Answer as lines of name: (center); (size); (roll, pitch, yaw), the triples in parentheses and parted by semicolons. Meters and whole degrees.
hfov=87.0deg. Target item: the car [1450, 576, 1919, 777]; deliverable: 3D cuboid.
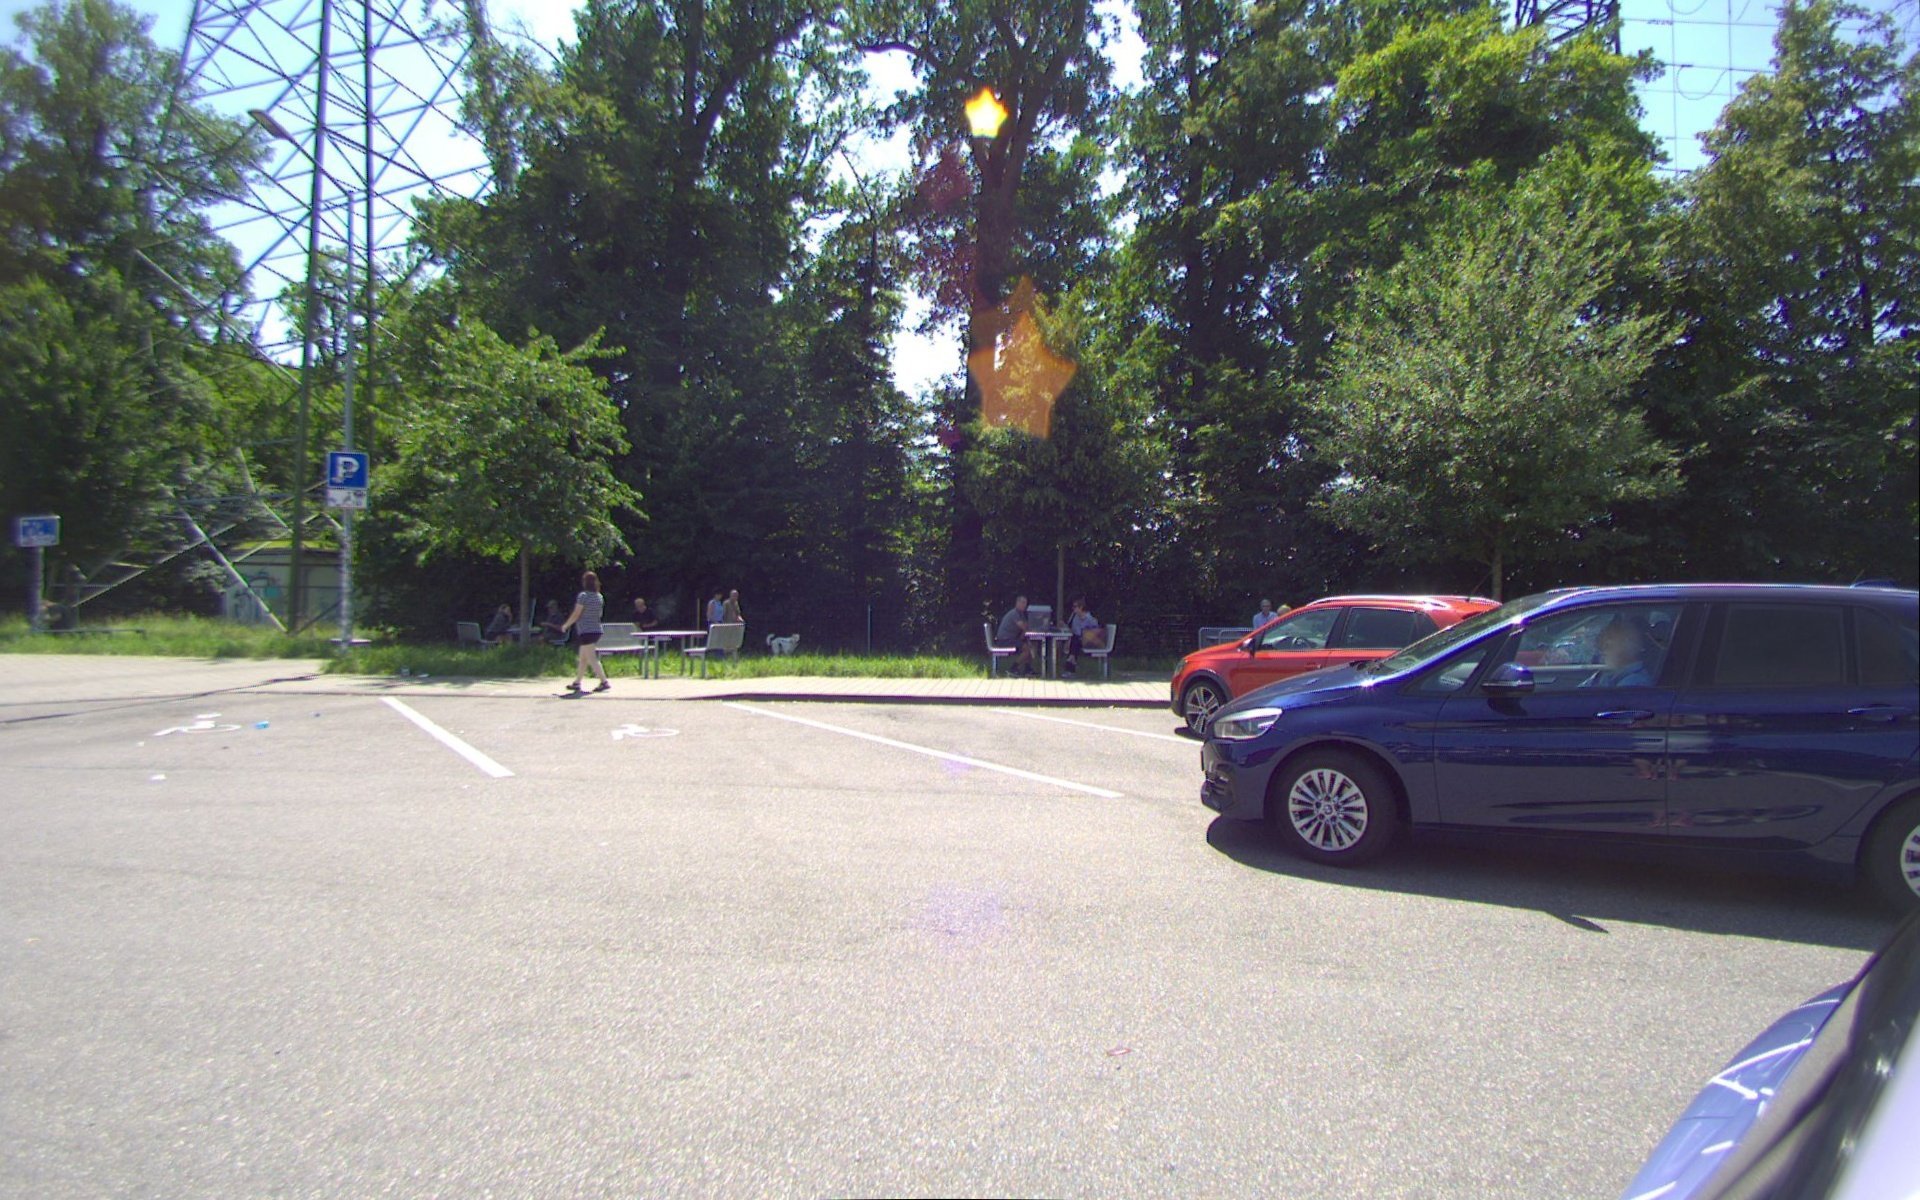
car: (7.069, 0.584, 9.855); (1.620, 1.575, 3.826); (0, 0, -37)

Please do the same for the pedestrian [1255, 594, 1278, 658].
pedestrian: (5.789, 0.483, 19.115); (0.350, 1.180, 0.384); (0, 0, 8)

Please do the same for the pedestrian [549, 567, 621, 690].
pedestrian: (-5.227, 0.384, 14.137); (0.703, 1.670, 0.686); (0, 0, 9)

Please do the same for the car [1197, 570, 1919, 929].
car: (3.625, 0.635, 5.627); (4.294, 1.572, 1.735); (1, 1, 22)

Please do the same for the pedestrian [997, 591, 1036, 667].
pedestrian: (0.960, 0.486, 17.101); (0.586, 1.261, 0.445); (0, 0, 16)

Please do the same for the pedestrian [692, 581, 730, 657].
pedestrian: (-5.452, 0.398, 22.162); (0.636, 1.625, 0.571); (0, 0, -40)

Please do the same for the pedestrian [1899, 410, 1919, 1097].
pedestrian: (3.040, 0.446, 2.431); (0.803, 1.974, 0.916); (0, 0, 16)

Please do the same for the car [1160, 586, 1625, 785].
car: (3.853, 0.626, 9.638); (1.619, 1.487, 3.830); (0, 0, -33)

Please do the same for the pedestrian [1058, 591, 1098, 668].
pedestrian: (1.973, 0.484, 16.845); (0.586, 1.261, 0.498); (0, 0, 16)

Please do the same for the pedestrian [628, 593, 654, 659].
pedestrian: (-6.717, 0.534, 21.333); (0.438, 1.363, 0.462); (0, 0, -5)

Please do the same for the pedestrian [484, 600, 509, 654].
pedestrian: (-10.464, 0.602, 22.844); (0.452, 1.182, 0.447); (0, 0, -34)

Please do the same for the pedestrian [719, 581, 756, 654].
pedestrian: (-5.036, 0.389, 22.884); (0.636, 1.625, 0.571); (0, 0, -40)

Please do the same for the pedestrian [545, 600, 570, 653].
pedestrian: (-9.376, 0.602, 23.585); (0.452, 1.209, 0.447); (0, 0, -34)

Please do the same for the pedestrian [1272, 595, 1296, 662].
pedestrian: (5.741, 0.495, 17.940); (0.350, 1.180, 0.384); (0, 0, 8)

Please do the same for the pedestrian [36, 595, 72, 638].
pedestrian: (-20.983, 0.383, 23.441); (0.452, 0.987, 0.447); (0, 0, -2)

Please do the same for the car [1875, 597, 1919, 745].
car: (10.869, 0.695, 9.001); (1.620, 1.420, 3.826); (0, 0, -37)
